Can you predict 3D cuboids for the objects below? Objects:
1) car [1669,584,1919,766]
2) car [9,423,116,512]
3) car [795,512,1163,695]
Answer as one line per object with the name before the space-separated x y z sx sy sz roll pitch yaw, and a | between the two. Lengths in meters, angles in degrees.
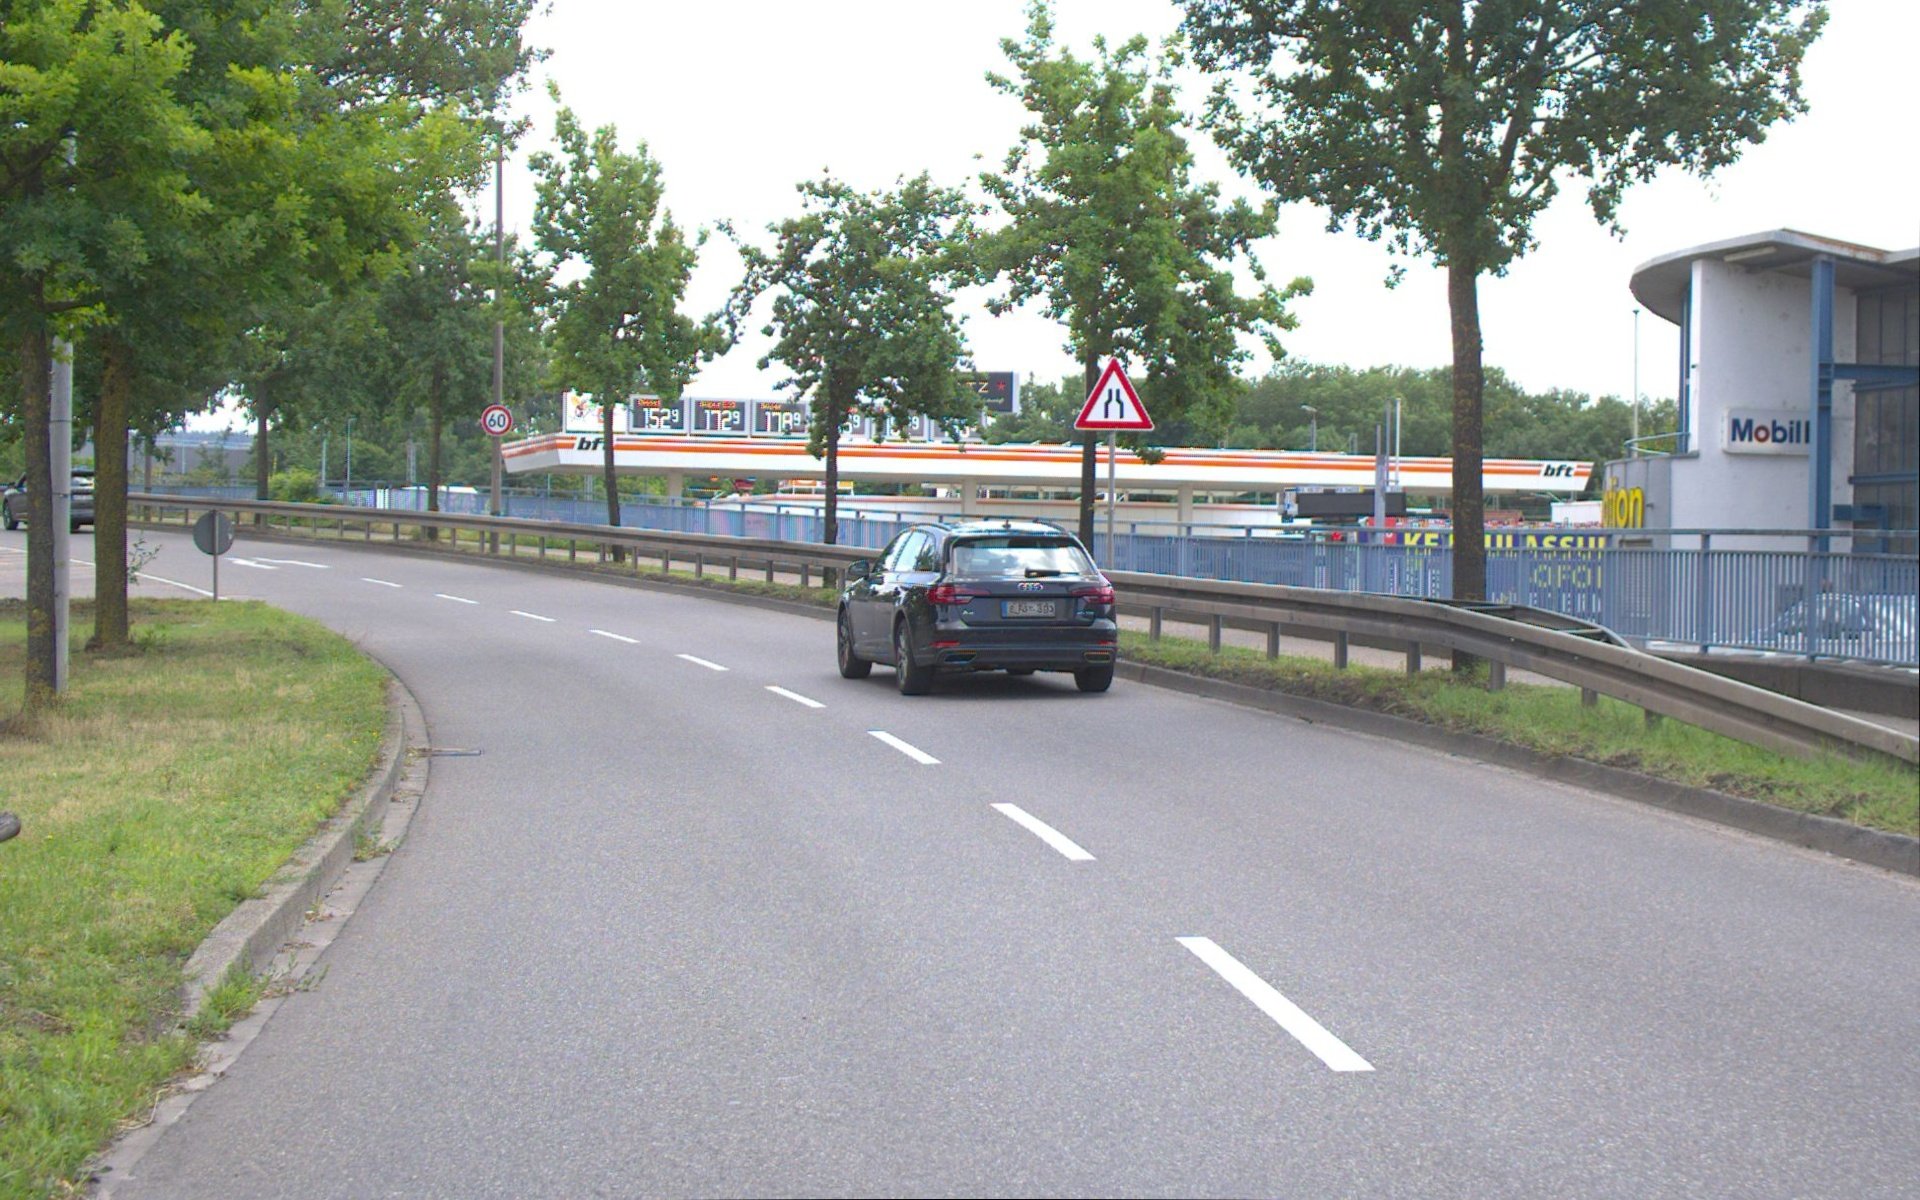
car | 8.187 0.601 30.500 1.993 1.354 4.751 0 2 -11
car | -22.271 -3.251 85.226 1.993 2.030 4.714 1 0 -21
car | 0.057 -0.021 29.819 1.993 1.386 4.577 2 1 -15
